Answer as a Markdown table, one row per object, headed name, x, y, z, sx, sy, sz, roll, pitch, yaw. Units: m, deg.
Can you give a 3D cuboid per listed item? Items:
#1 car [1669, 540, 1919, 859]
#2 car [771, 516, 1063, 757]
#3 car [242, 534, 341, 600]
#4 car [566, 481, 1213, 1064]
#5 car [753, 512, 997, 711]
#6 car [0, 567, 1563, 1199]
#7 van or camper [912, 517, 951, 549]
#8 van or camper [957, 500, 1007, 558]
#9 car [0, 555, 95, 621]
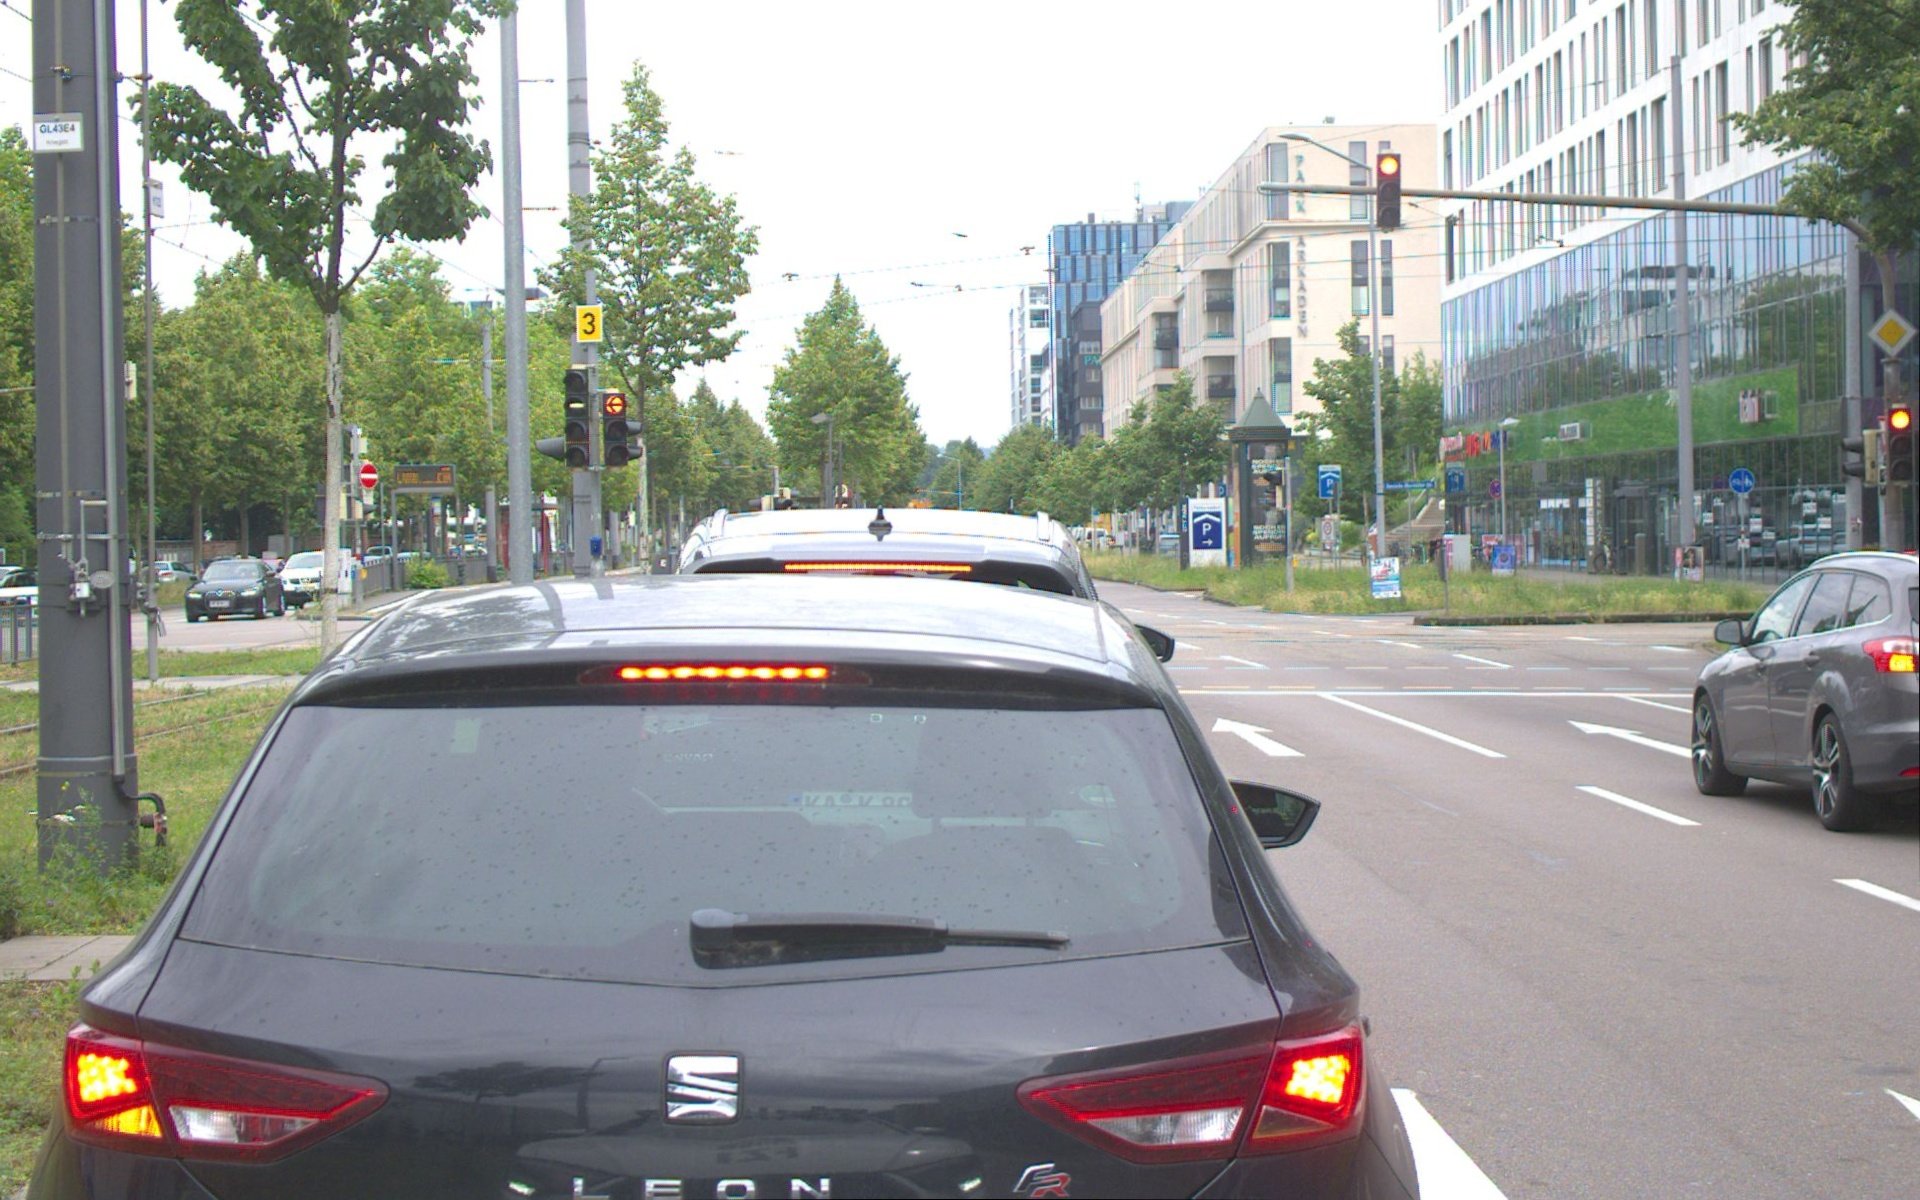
| name | x | y | z | sx | sy | sz | roll | pitch | yaw |
| --- | --- | --- | --- | --- | --- | --- | --- | --- | --- |
| car | 5.317 | 0.458 | 19.220 | 1.748 | 1.494 | 4.269 | 0 | 2 | -1 |
| car | -0.246 | 0.206 | 26.083 | 1.994 | 1.676 | 4.000 | 1 | 1 | 2 |
| car | -18.501 | -0.944 | 95.280 | 1.993 | 1.744 | 4.201 | -1 | 1 | -2 |
| car | -0.220 | 0.444 | 11.698 | 1.802 | 1.619 | 4.000 | -1 | 1 | -1 |
| car | -0.698 | 0.047 | 31.143 | 1.993 | 1.676 | 4.000 | 1 | 1 | 2 |
| car | -0.317 | 0.689 | 5.476 | 1.743 | 1.412 | 4.000 | 1 | 1 | -1 |
| van or camper | -1.494 | -3.538 | 180.688 | 1.993 | 1.609 | 4.789 | 0 | 2 | 0 |
| van or camper | 0.916 | -3.068 | 147.595 | 2.109 | 2.348 | 4.924 | 0 | 3 | 0 |
| car | -23.433 | -0.326 | 87.091 | 1.811 | 1.583 | 5.078 | -1 | 1 | -1 |
